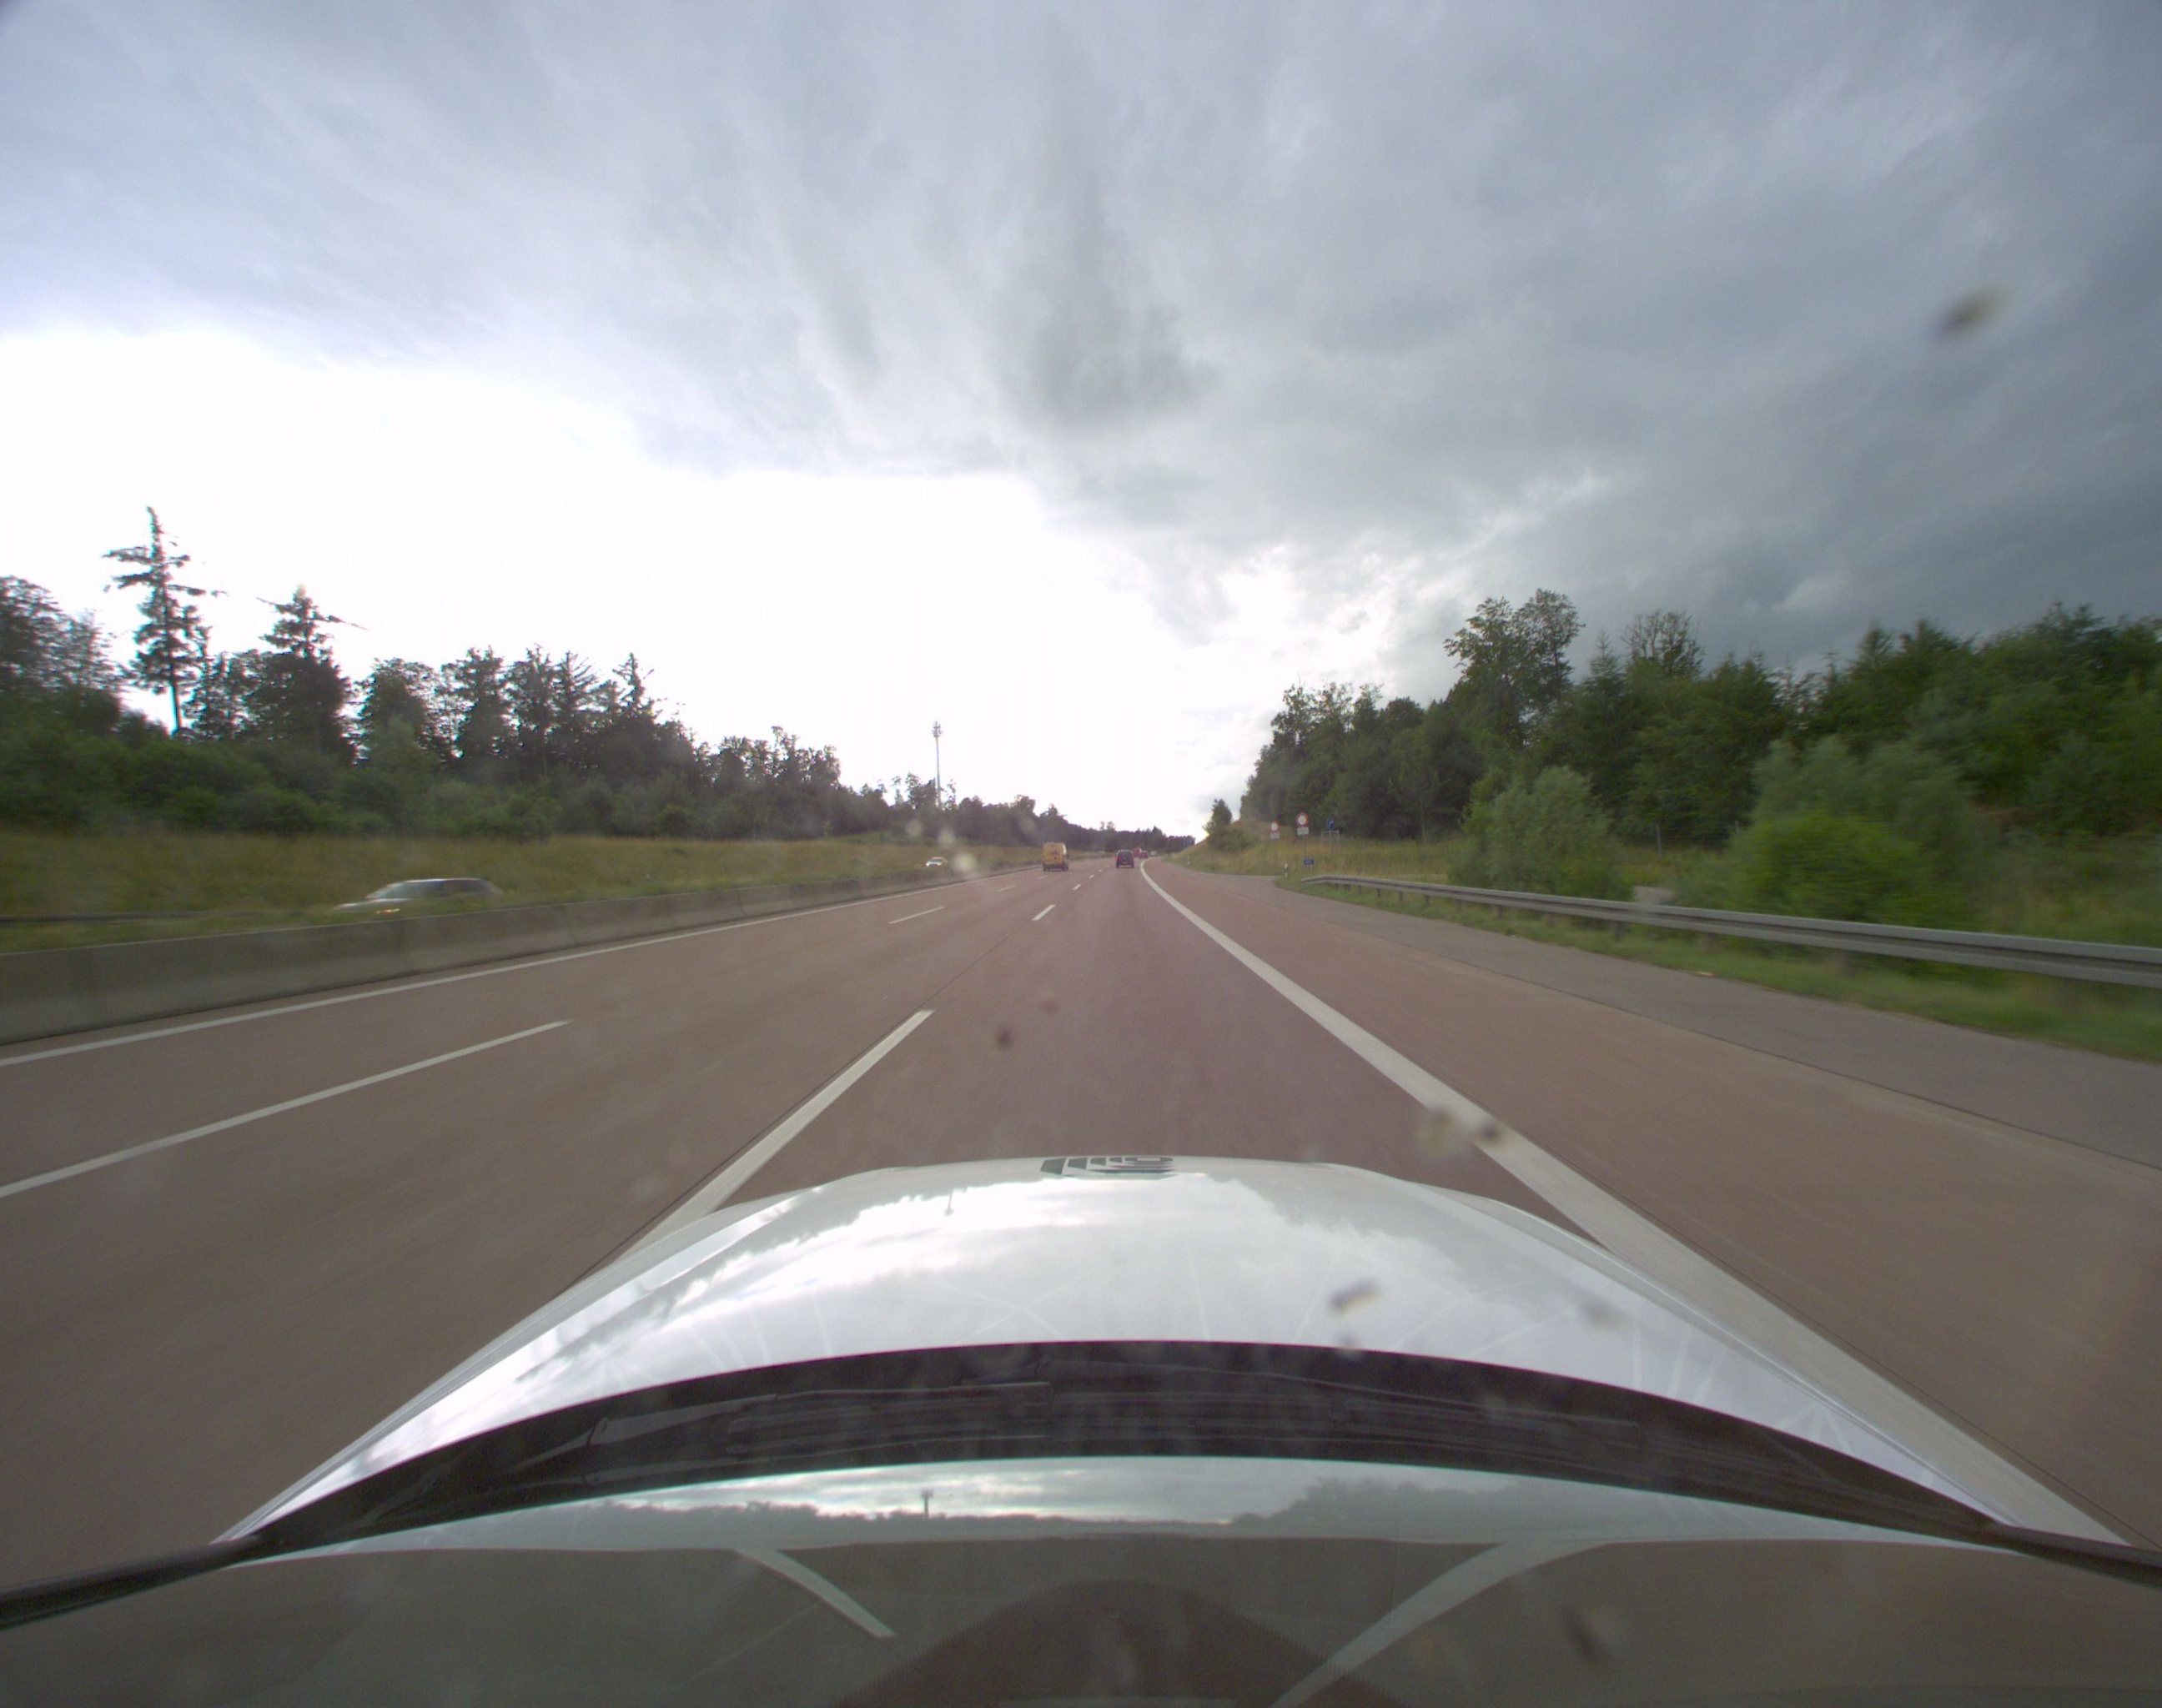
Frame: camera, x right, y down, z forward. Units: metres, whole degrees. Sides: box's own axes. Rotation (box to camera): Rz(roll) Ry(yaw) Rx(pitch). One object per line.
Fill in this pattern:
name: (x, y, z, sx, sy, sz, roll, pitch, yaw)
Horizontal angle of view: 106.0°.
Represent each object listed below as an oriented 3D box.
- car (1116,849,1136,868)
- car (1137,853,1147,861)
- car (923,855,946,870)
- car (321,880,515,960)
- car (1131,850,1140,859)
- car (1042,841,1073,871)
car: (4.747, 0.482, 86.604, 2.036, 1.897, 5.580, -2, -1, 3)
car: (13.586, 0.578, 181.119, 1.970, 1.648, 4.622, -2, -1, 3)
car: (-16.466, 0.999, 91.661, 1.664, 1.525, 4.826, -1, -2, 1)
car: (-17.636, 1.682, 21.943, 1.800, 1.816, 4.002, -1, 0, 2)
car: (15.397, 0.173, 230.129, 2.230, 2.430, 6.213, -1, 0, 5)
car: (-2.227, 0.260, 78.155, 2.448, 2.706, 5.617, -2, -1, 3)
